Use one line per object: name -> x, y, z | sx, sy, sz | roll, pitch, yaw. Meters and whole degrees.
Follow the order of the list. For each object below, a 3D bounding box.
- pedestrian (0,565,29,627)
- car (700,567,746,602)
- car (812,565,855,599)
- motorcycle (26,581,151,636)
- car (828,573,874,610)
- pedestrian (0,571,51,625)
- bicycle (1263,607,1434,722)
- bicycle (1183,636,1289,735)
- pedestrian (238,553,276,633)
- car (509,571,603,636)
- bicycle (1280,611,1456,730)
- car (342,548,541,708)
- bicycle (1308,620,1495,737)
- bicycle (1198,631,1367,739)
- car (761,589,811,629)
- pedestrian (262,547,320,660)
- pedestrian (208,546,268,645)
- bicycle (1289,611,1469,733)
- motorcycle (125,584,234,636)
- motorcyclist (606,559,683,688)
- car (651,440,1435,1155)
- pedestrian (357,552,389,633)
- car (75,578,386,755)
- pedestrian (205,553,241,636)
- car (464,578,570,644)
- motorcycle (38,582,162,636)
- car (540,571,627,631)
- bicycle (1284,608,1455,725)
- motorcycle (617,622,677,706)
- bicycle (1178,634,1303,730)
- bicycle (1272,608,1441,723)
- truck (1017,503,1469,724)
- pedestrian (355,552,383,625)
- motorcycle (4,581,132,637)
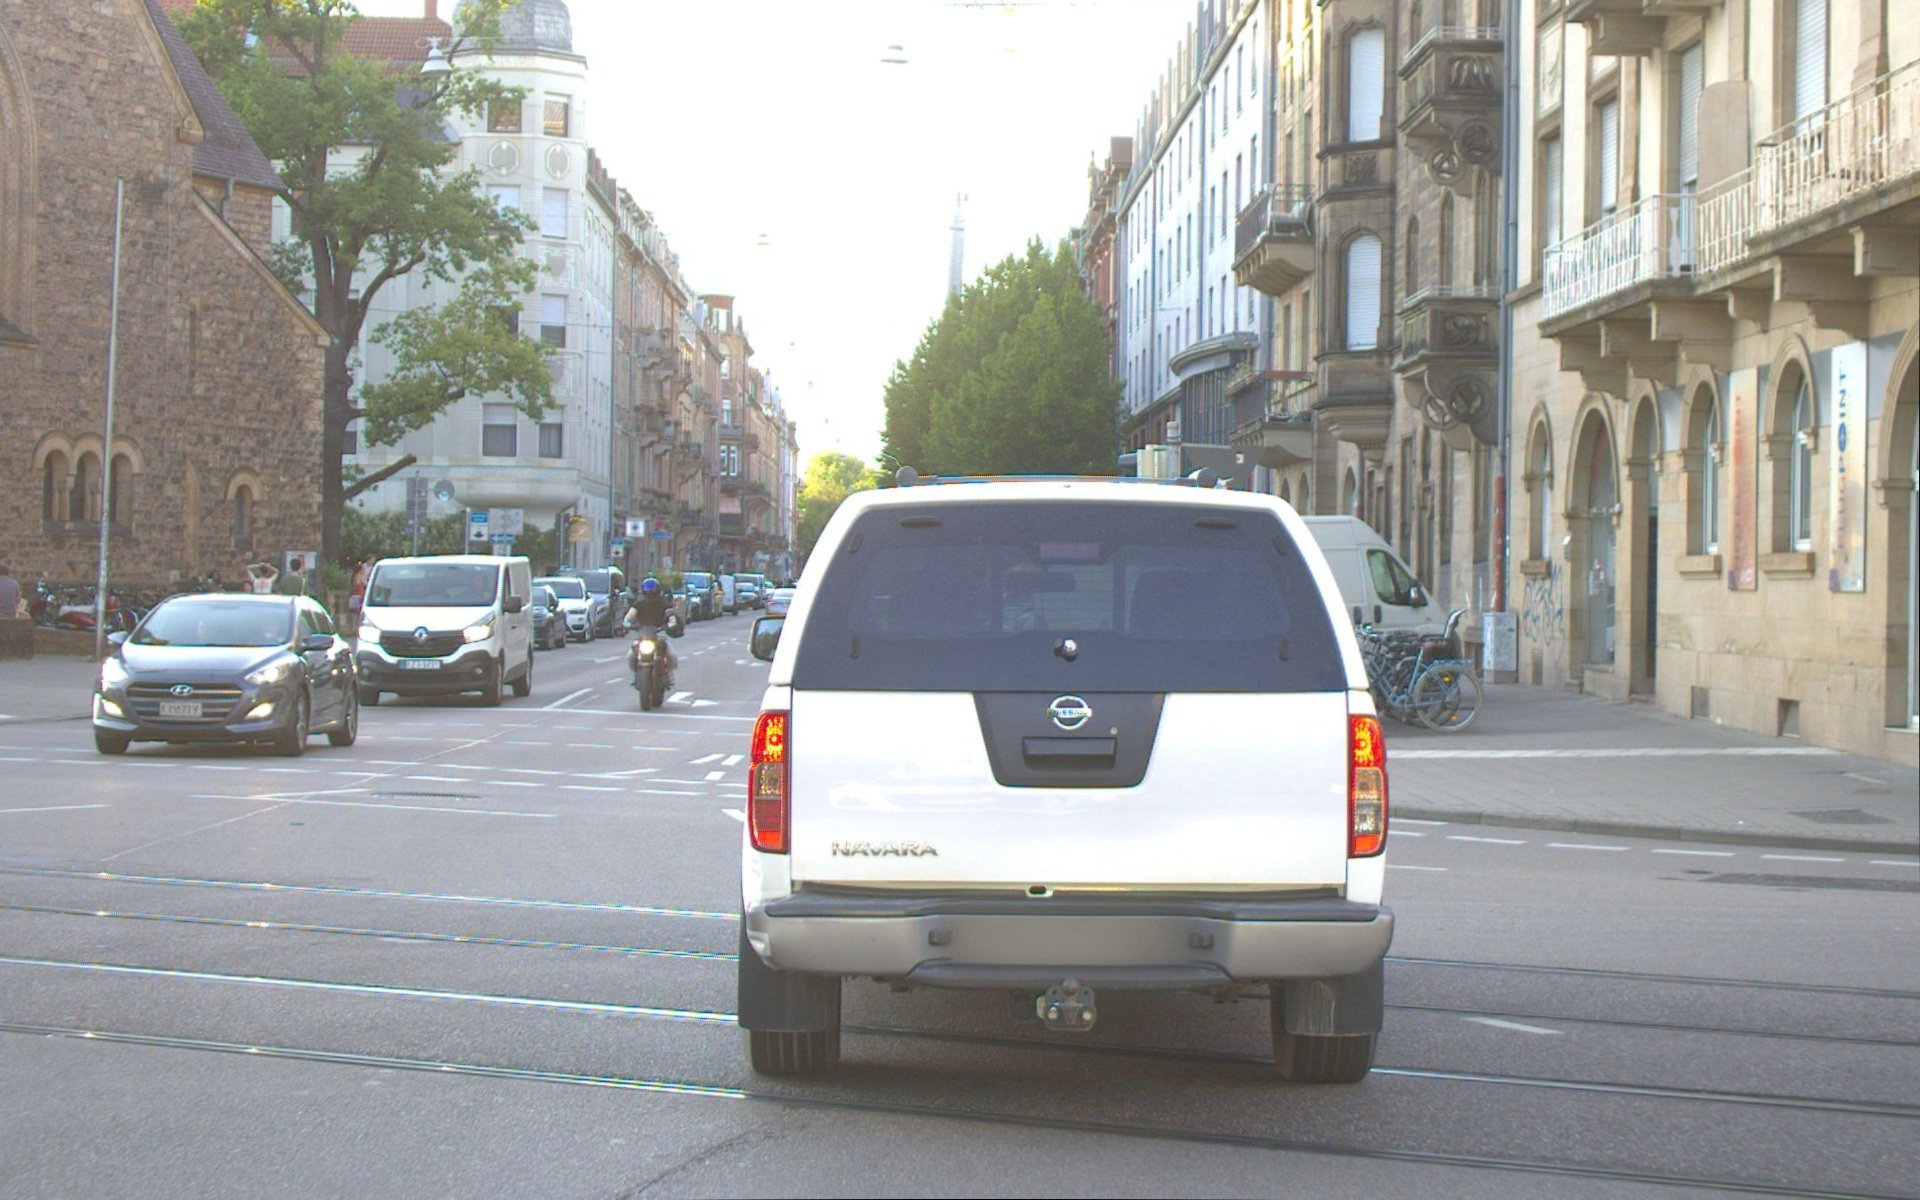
pedestrian -> -14.989, -0.067, 54.287 | 0.521, 0.957, 0.479 | 2, 0, -15
car -> -10.916, -0.694, 158.507 | 1.858, 1.524, 4.000 | 2, 0, 0
car -> -5.924, -0.827, 160.799 | 1.920, 1.524, 4.000 | 2, 0, -2
motorcycle -> -16.980, 0.168, 67.043 | 2.243, 0.984, 0.708 | 2, 0, -5
car -> -4.774, -0.373, 150.470 | 1.858, 1.524, 4.000 | 2, 0, 0
pedestrian -> -17.097, -0.040, 62.901 | 0.552, 0.957, 0.709 | 2, 0, 21
bicycle -> 4.453, 0.737, 39.490 | 1.855, 1.234, 0.531 | -2, 0, -1
bicycle -> 2.997, 0.928, 37.349 | 1.077, 1.021, 0.317 | -2, 0, -1
pedestrian -> -15.121, -0.151, 73.913 | 0.643, 1.690, 0.562 | 2, 0, 0
car -> -10.044, 0.093, 85.781 | 1.858, 1.524, 4.000 | 2, 0, 0
bicycle -> 4.457, 0.768, 37.628 | 1.817, 1.234, 0.478 | -2, 0, -1
car -> -6.907, 0.356, 46.294 | 1.993, 2.007, 4.950 | 1, 0, -1
bicycle -> 4.611, 0.813, 35.974 | 1.817, 1.146, 0.636 | -2, 0, -1
bicycle -> 3.418, 0.898, 36.458 | 1.726, 1.080, 0.317 | -2, 0, -1
car -> -6.891, 0.349, 135.781 | 1.858, 1.524, 4.000 | 2, 0, -3
pedestrian -> -11.473, 0.055, 58.939 | 0.812, 1.894, 0.666 | 2, 0, -2
pedestrian -> -12.370, -0.072, 58.909 | 0.812, 1.664, 0.859 | 2, 0, -2
bicycle -> 4.493, 0.765, 36.916 | 1.817, 1.234, 0.488 | -2, 0, -1
motorcycle -> -15.927, 0.205, 70.113 | 2.167, 0.984, 0.593 | 2, 0, 20
motorcyclist -> -4.105, 0.301, 44.818 | 0.874, 1.639, 0.963 | 2, 0, -1
car -> 0.229, 0.518, 11.031 | 1.993, 1.803, 4.000 | 2, 0, 0
pedestrian -> -13.638, -0.179, 79.893 | 0.642, 1.849, 0.562 | 2, 0, -14
car -> -6.534, 0.555, 31.233 | 1.993, 1.472, 4.140 | 0, 1, -1
pedestrian -> -15.352, -0.119, 71.615 | 0.642, 1.690, 0.562 | 2, 0, -8
car -> -9.963, 0.244, 77.584 | 1.858, 1.393, 4.000 | 2, 0, 0
motorcycle -> -16.963, 0.169, 67.842 | 2.243, 0.984, 0.708 | 2, 0, -5
car -> -10.087, 0.022, 92.364 | 1.858, 1.524, 4.000 | 2, 0, 0
bicycle -> 4.562, 0.738, 38.352 | 1.817, 1.234, 0.412 | -2, 0, -1
motorcycle -> -4.051, 0.819, 44.630 | 0.599, 1.040, 1.946 | 2, 0, -1
bicycle -> 3.147, 0.919, 38.605 | 1.333, 1.021, 0.317 | -2, 0, -1
bicycle -> 4.493, 0.736, 38.959 | 1.817, 1.234, 0.410 | -2, 0, -1
truck -> 3.572, 0.179, 42.550 | 5.657, 2.556, 2.287 | 1, 0, -43
pedestrian -> -13.882, -0.271, 80.736 | 0.560, 1.690, 0.645 | 2, 0, -7
motorcycle -> -17.069, 0.165, 65.816 | 2.243, 0.984, 0.708 | 2, 0, -5
